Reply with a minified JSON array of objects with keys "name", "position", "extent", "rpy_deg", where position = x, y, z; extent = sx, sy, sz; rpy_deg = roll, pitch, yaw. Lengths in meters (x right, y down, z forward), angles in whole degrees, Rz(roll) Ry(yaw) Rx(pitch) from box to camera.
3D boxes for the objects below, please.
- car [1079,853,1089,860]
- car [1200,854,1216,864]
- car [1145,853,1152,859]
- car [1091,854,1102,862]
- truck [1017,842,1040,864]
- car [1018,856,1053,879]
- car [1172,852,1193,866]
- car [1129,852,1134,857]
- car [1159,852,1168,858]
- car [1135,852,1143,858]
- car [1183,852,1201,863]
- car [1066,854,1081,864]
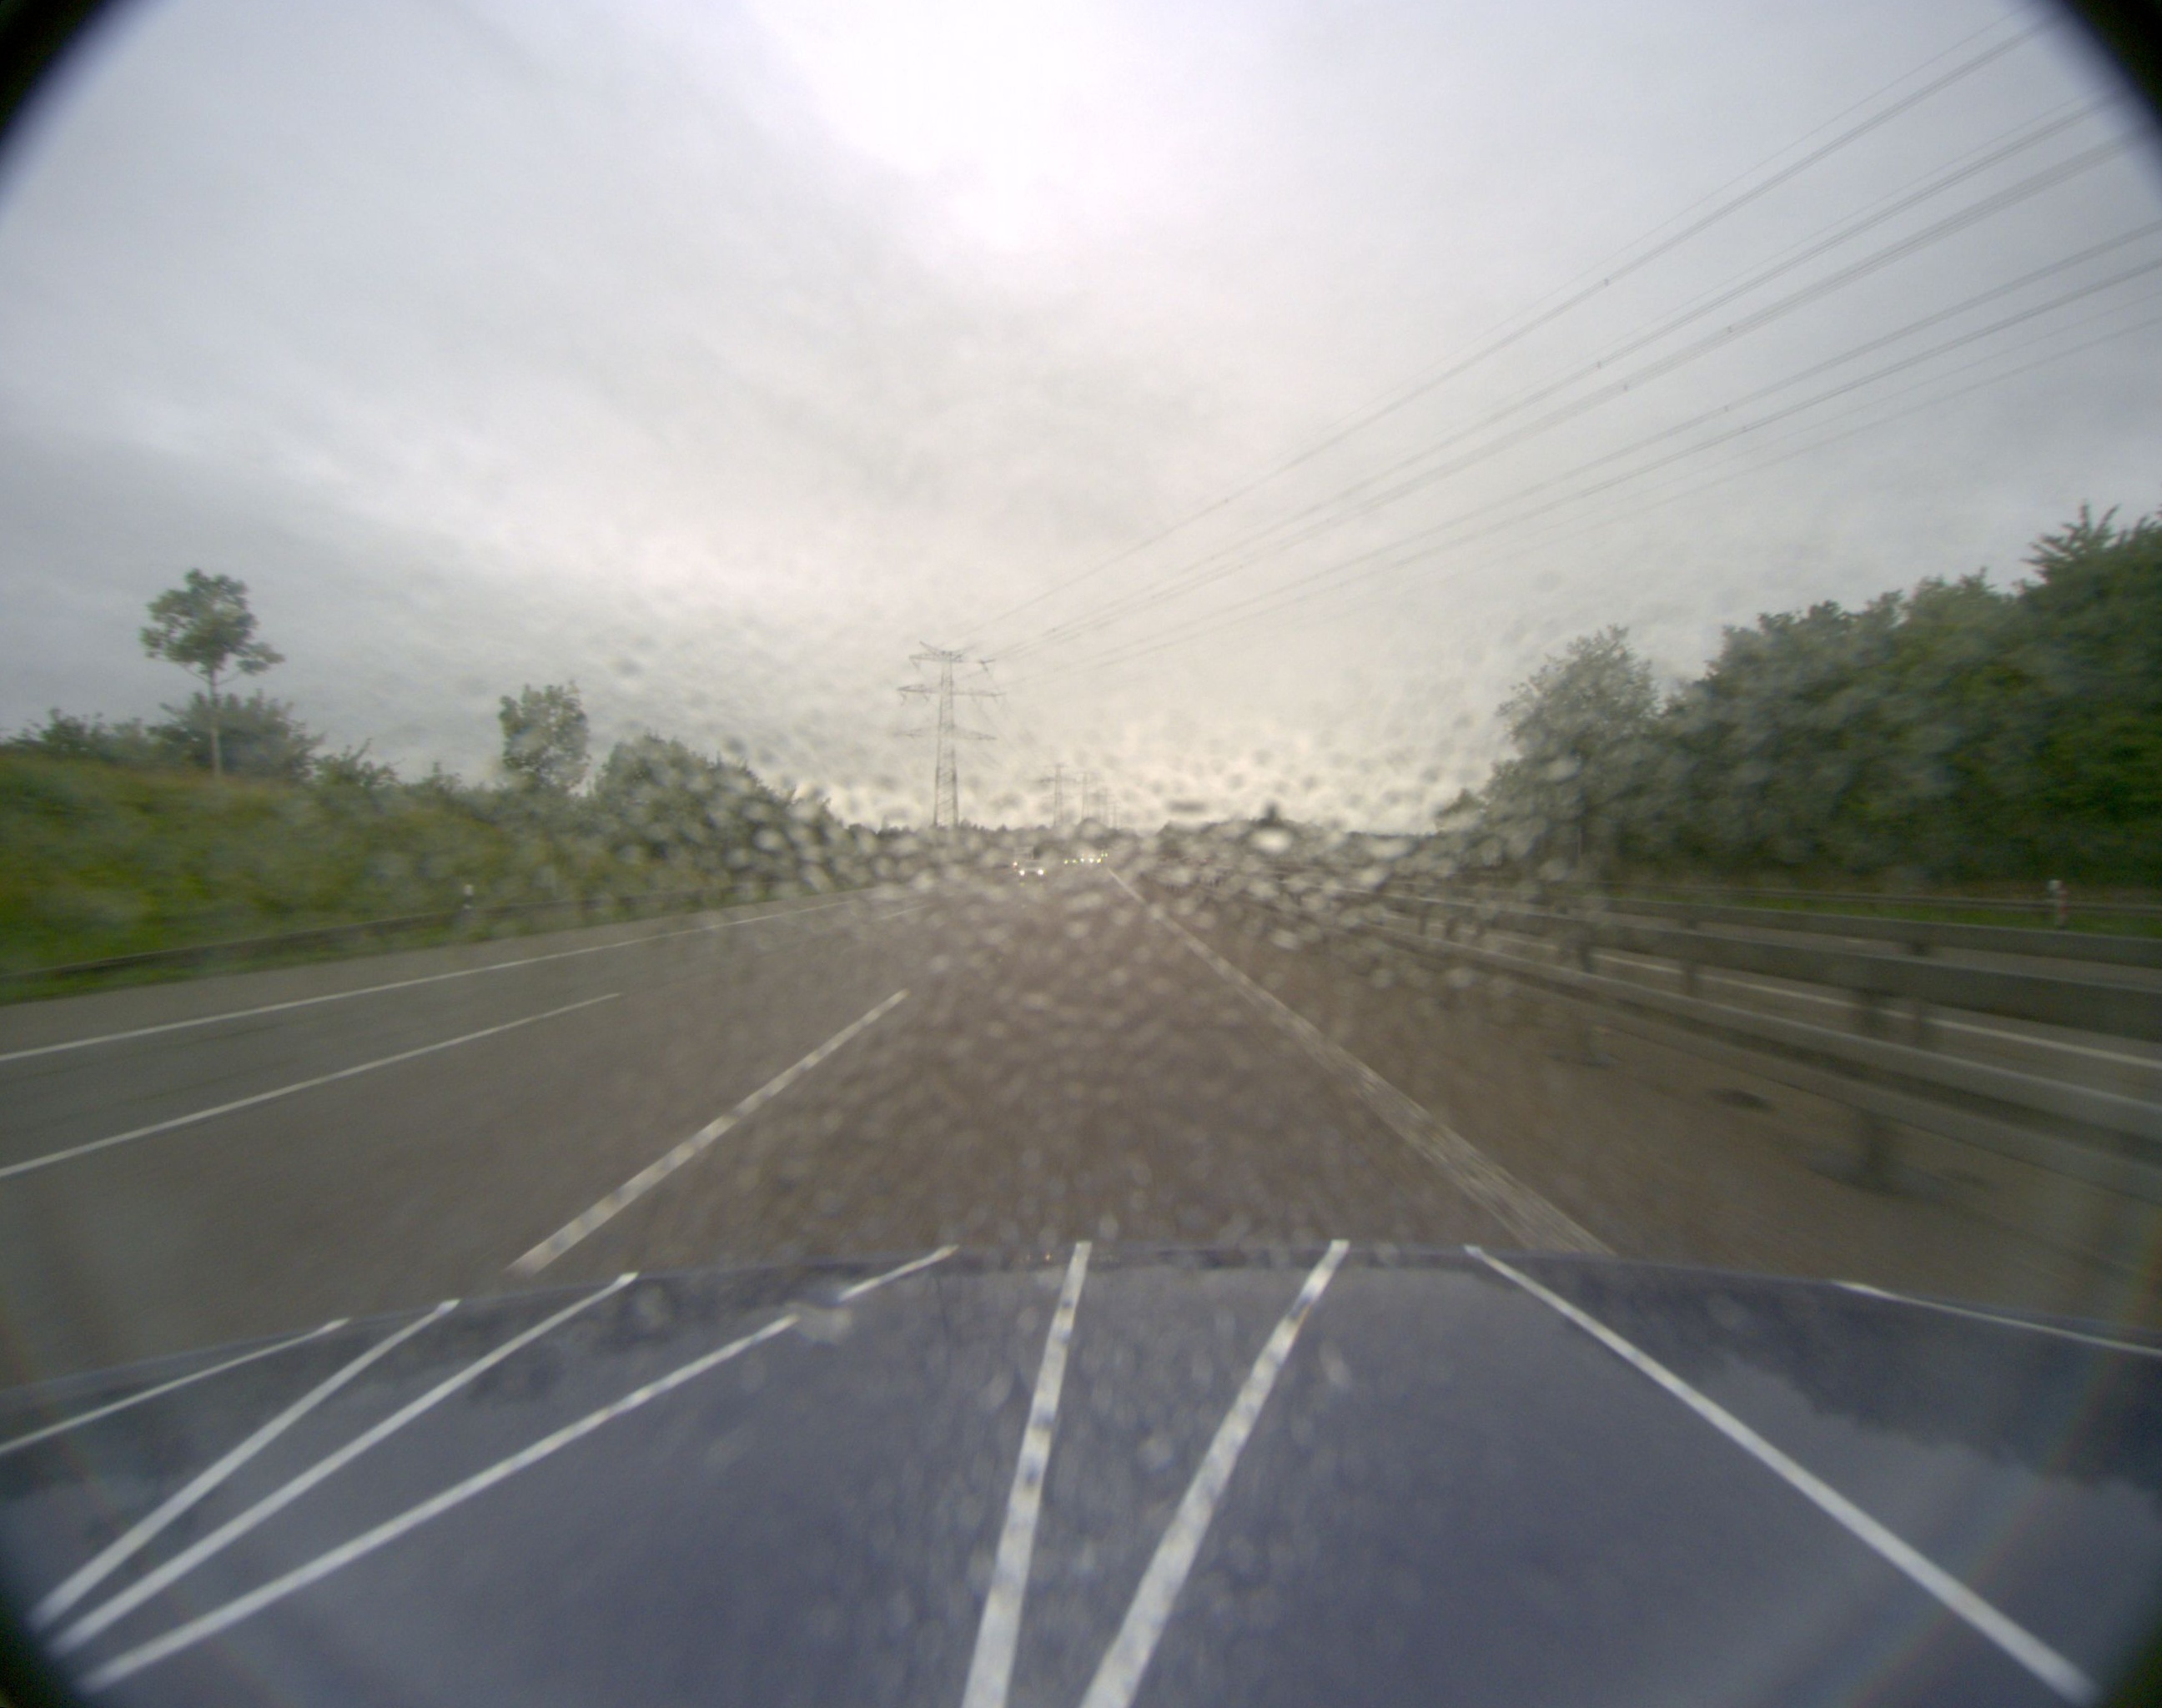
[{"name":"car","position":[0.639,0.499,163.379],"extent":[1.856,1.418,4.000],"rpy_deg":[-2,1,3]},{"name":"car","position":[22.078,0.830,132.224],"extent":[1.954,1.808,4.916],"rpy_deg":[0,0,0]},{"name":"car","position":[18.846,0.529,212.200],"extent":[1.833,1.490,3.815],"rpy_deg":[0,0,1]},{"name":"car","position":[2.899,0.686,142.462],"extent":[1.998,1.418,4.000],"rpy_deg":[-2,1,3]},{"name":"truck","position":[-8.236,-0.141,119.522],"extent":[2.649,3.325,6.931],"rpy_deg":[-2,1,3]},{"name":"car","position":[-3.100,0.887,52.684],"extent":[1.998,1.418,4.000],"rpy_deg":[-2,1,3]},{"name":"car","position":[11.427,0.532,86.036],"extent":[1.761,1.453,4.762],"rpy_deg":[1,0,1]},{"name":"car","position":[16.713,0.227,251.090],"extent":[1.660,1.428,4.089],"rpy_deg":[1,0,1]},{"name":"car","position":[21.588,0.213,198.847],"extent":[1.833,1.490,3.815],"rpy_deg":[0,0,1]},{"name":"car","position":[14.272,0.237,186.389],"extent":[1.833,1.584,3.815],"rpy_deg":[0,0,1]},{"name":"car","position":[16.339,0.511,112.022],"extent":[1.909,1.655,4.714],"rpy_deg":[0,0,1]},{"name":"car","position":[-1.177,0.813,120.682],"extent":[1.998,1.418,4.000],"rpy_deg":[-2,1,3]}]
